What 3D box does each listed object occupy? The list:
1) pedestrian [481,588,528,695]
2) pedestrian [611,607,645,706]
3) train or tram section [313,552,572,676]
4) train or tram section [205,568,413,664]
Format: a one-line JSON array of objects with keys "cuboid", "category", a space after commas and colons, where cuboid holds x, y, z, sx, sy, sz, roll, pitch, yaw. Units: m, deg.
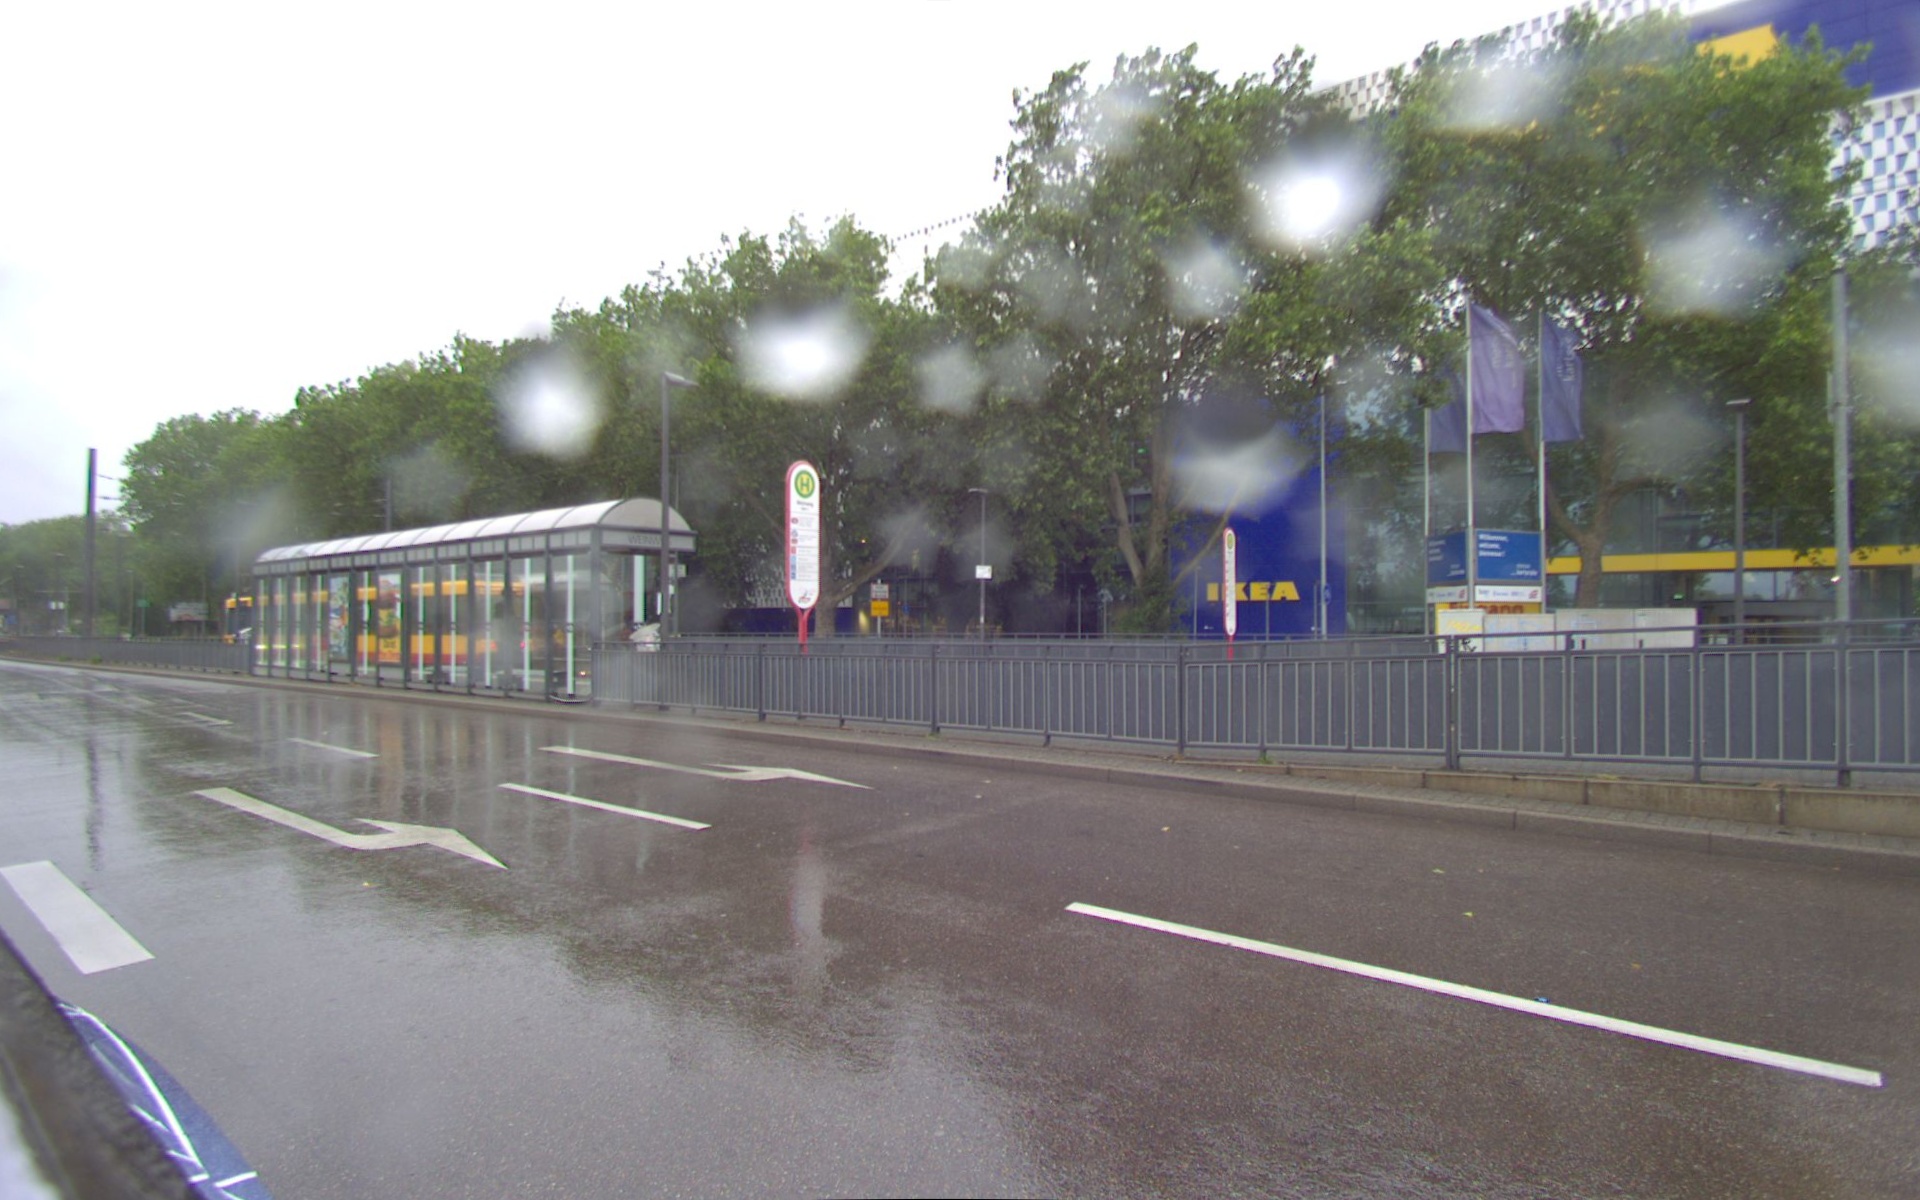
[{"cuboid": [-8.322, 0.739, 18.478, 0.646, 1.885, 0.774, -1, 0, -33], "category": "pedestrian"}, {"cuboid": [-5.130, 0.861, 15.624, 0.317, 1.504, 0.416, -2, 1, -44], "category": "pedestrian"}, {"cuboid": [-19.462, 0.506, 37.348, 13.245, 3.868, 3.703, -1, 0, 40], "category": "train or tram section"}, {"cuboid": [-30.428, 0.733, 46.742, 15.560, 3.827, 3.703, -1, 0, 40], "category": "train or tram section"}]
